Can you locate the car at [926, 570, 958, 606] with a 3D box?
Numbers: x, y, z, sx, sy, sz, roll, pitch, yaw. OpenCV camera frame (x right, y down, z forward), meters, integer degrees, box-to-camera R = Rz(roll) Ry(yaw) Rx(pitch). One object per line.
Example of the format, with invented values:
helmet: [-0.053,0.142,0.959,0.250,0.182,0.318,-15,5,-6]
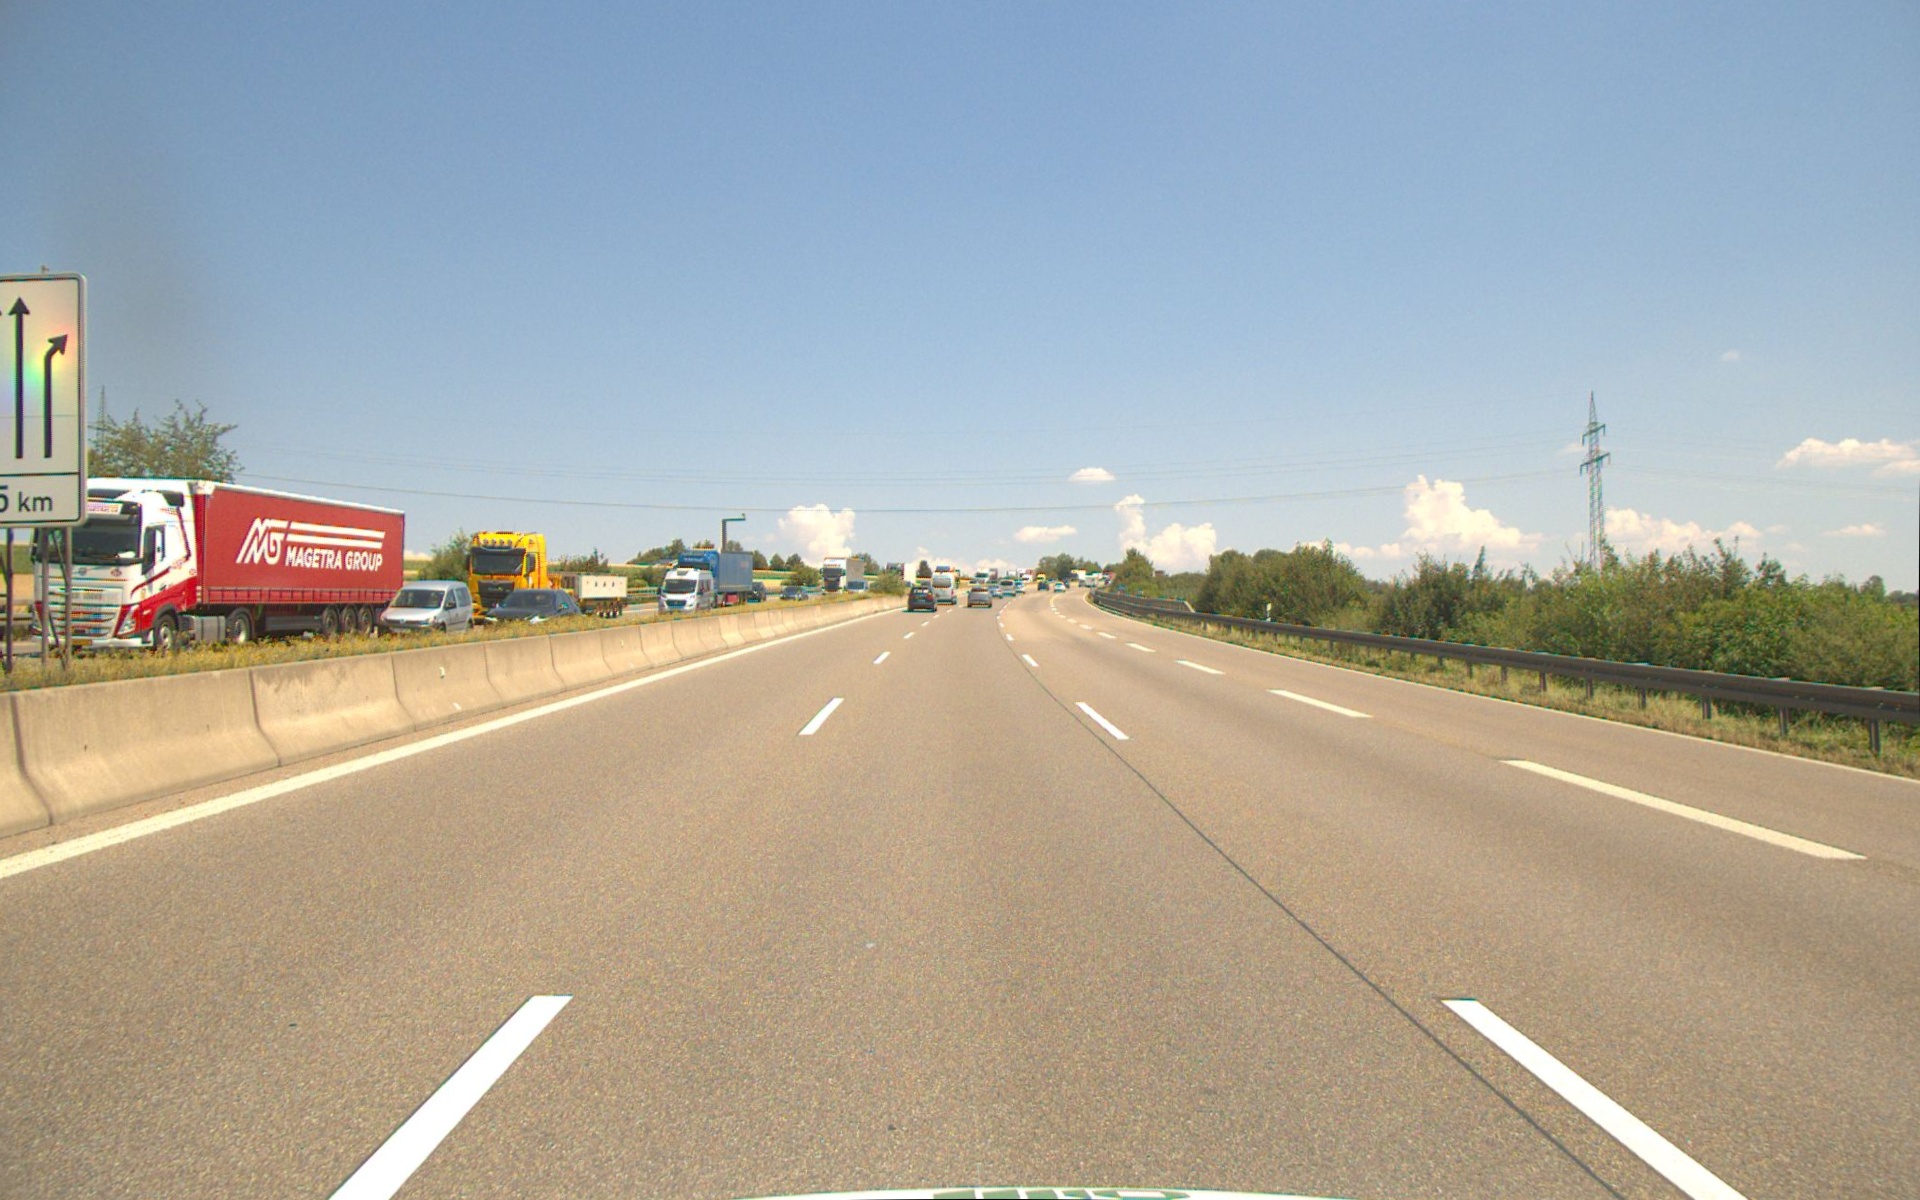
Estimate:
car: [-1.442,-0.973,134.557,2.134,2.671,4.674,1,-2,4]

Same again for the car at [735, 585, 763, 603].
car: [-17.584,-0.525,137.968,1.623,1.409,4.351,1,1,2]

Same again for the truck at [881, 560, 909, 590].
truck: [-9.337,-3.633,239.716,3.158,4.280,7.130,1,1,5]

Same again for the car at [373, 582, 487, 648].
car: [-15.350,0.410,48.164,1.875,1.803,4.761,1,0,-2]

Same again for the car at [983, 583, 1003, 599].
car: [3.409,-0.935,171.998,1.953,1.613,4.000,0,-1,0]

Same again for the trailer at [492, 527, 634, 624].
trailer: [-18.766,-1.144,79.475,2.891,4.172,14.385,1,1,2]

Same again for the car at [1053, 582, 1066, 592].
car: [15.291,-1.991,254.580,1.862,1.467,4.002,1,1,4]

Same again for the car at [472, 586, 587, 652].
car: [-12.215,0.511,47.273,2.007,1.725,5.254,1,0,-2]

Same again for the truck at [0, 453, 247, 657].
truck: [-18.998,-0.945,37.329,2.973,4.153,6.315,1,0,0]

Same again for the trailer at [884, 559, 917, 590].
trailer: [-8.782,-3.787,246.458,3.173,4.463,14.036,1,1,5]

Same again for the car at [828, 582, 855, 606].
car: [-10.237,-0.488,143.077,1.874,2.004,5.447,1,0,0]

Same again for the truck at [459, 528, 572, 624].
truck: [-19.075,-1.014,71.367,2.694,3.904,7.100,1,1,2]

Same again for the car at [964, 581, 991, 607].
car: [1.353,-0.415,125.244,1.952,1.781,4.000,1,-2,2]

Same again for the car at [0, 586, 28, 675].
car: [-18.799,0.509,29.479,1.800,1.659,4.602,1,-2,-2]

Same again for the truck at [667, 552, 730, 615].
truck: [-17.980,-1.140,114.159,3.012,4.161,6.937,1,0,2]

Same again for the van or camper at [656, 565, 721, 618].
van or camper: [-14.369,-0.426,87.978,2.264,2.632,7.143,1,0,0]

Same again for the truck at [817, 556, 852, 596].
truck: [-14.138,-2.650,186.537,3.066,4.403,6.150,1,0,4]

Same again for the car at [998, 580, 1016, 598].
car: [5.363,-1.276,190.065,1.953,1.937,3.999,1,-2,0]

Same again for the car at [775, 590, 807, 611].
car: [-13.245,0.021,130.111,1.874,1.568,5.743,1,0,0]

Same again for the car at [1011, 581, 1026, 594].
car: [7.857,-1.721,221.005,1.952,1.579,4.002,2,1,3]

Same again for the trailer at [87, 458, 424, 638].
trailer: [-18.946,-1.252,46.200,3.022,4.172,14.382,1,0,1]

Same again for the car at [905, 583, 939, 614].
car: [-2.441,-0.112,106.075,1.809,1.893,4.208,1,1,3]
